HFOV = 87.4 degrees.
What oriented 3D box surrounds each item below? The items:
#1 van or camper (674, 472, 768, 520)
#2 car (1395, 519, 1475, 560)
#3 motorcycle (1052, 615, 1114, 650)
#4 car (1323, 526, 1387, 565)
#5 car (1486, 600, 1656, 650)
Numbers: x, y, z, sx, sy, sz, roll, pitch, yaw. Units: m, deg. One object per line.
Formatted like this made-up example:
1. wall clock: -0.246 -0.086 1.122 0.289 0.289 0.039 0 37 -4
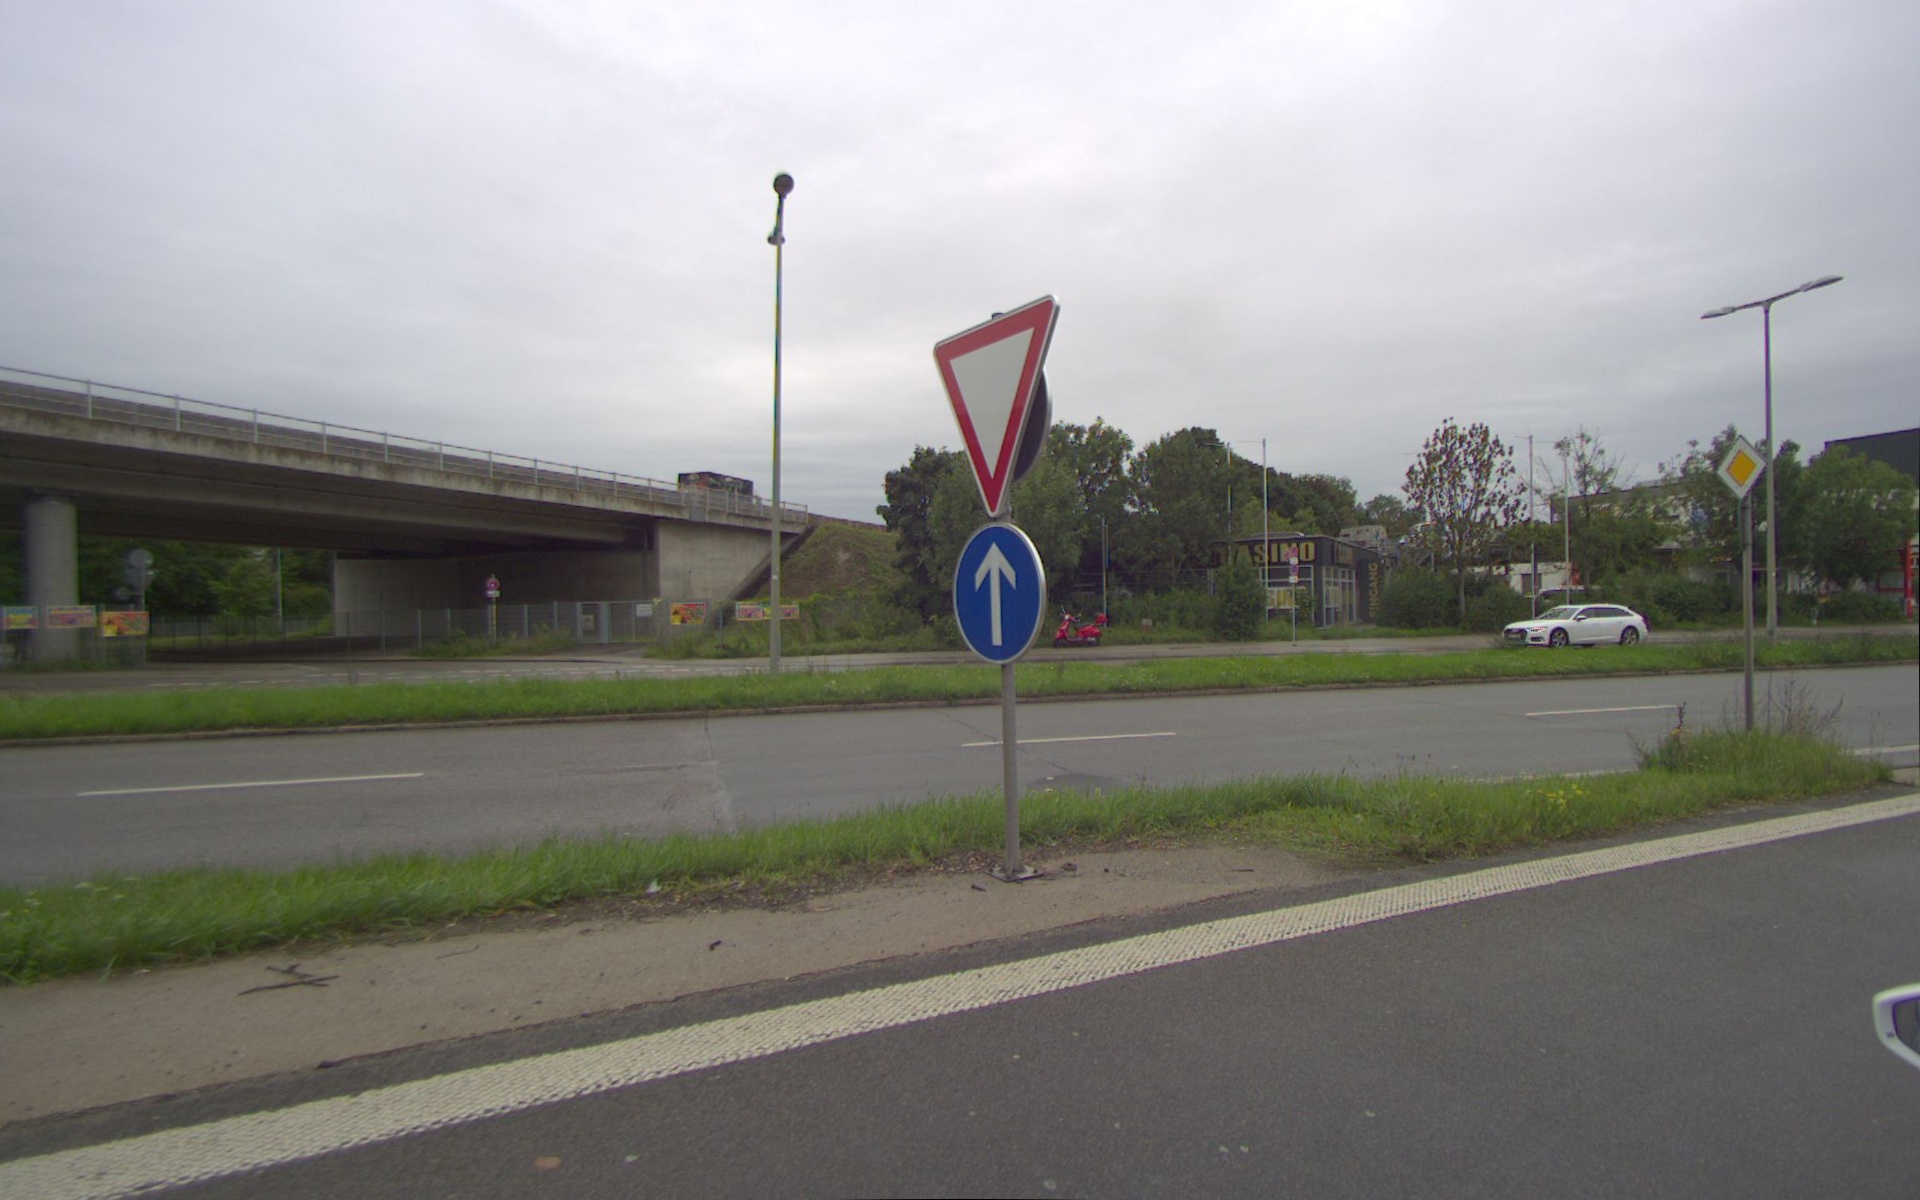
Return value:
1. van or camper: -15.335 -6.635 64.888 2.596 2.275 6.036 0 -2 27
2. car: 30.400 -3.808 64.447 2.099 2.040 4.787 2 -3 -14
3. motorcycle: 4.404 1.140 35.930 2.159 1.192 0.533 -1 0 -16
4. car: 29.412 -3.999 74.874 2.099 2.400 4.787 2 -3 -14
5. car: 20.651 0.823 33.997 5.033 1.593 1.994 0 -1 -15
